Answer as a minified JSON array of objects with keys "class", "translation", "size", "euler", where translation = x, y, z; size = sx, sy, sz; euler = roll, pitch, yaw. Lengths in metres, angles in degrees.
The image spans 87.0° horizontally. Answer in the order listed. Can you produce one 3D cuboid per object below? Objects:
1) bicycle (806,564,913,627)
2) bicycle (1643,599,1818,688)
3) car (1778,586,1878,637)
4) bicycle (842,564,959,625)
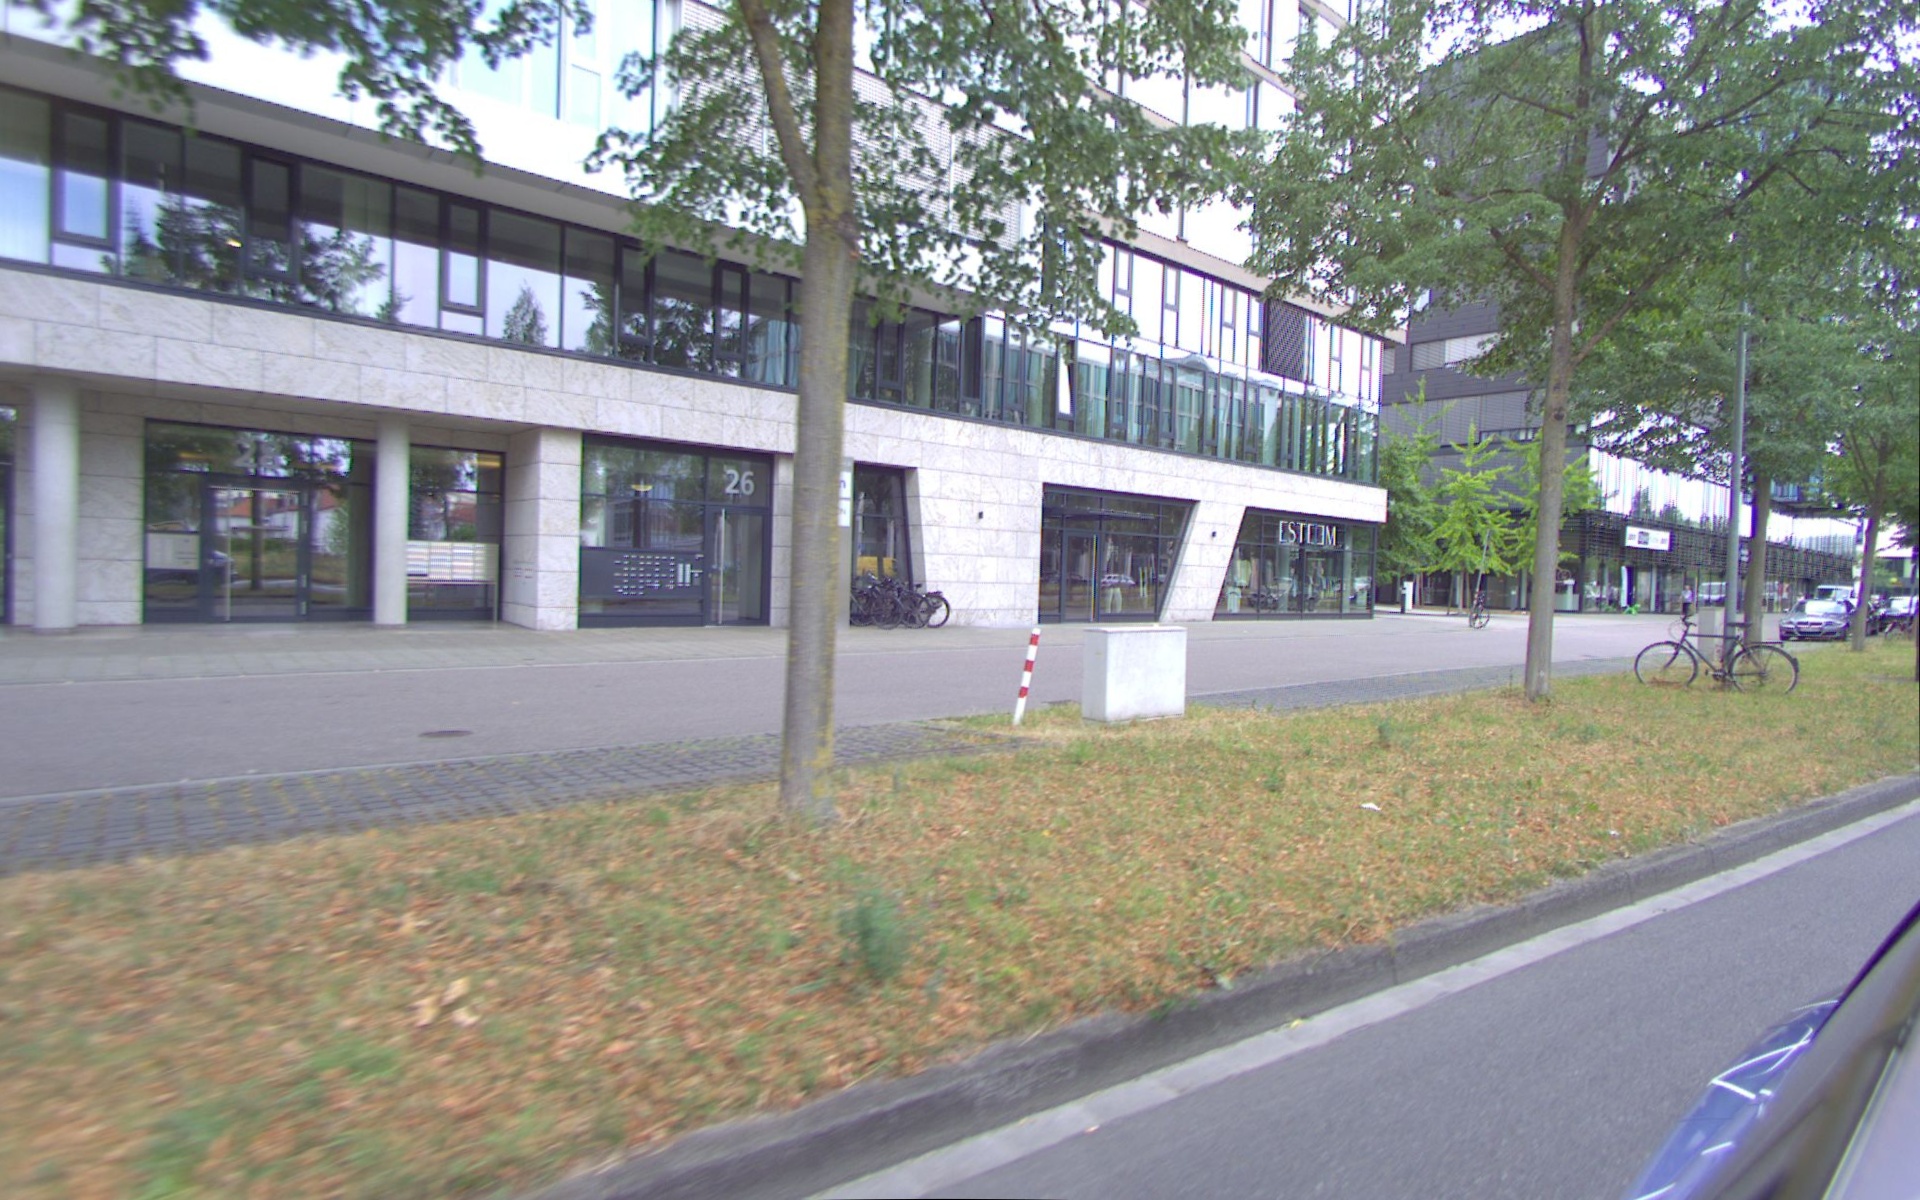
[{"class":"bicycle","translation":[-2.090,-0.124,20.807],"size":[2.232,1.191,0.961],"euler":[3,2,44]},{"class":"bicycle","translation":[10.093,0.544,13.331],"size":[1.779,1.031,0.417],"euler":[3,2,37]},{"class":"car","translation":[29.179,0.337,33.999],"size":[3.930,1.549,1.953],"euler":[0,2,-41]},{"class":"bicycle","translation":[-1.299,-0.141,21.743],"size":[2.419,1.191,1.184],"euler":[3,2,44]}]
